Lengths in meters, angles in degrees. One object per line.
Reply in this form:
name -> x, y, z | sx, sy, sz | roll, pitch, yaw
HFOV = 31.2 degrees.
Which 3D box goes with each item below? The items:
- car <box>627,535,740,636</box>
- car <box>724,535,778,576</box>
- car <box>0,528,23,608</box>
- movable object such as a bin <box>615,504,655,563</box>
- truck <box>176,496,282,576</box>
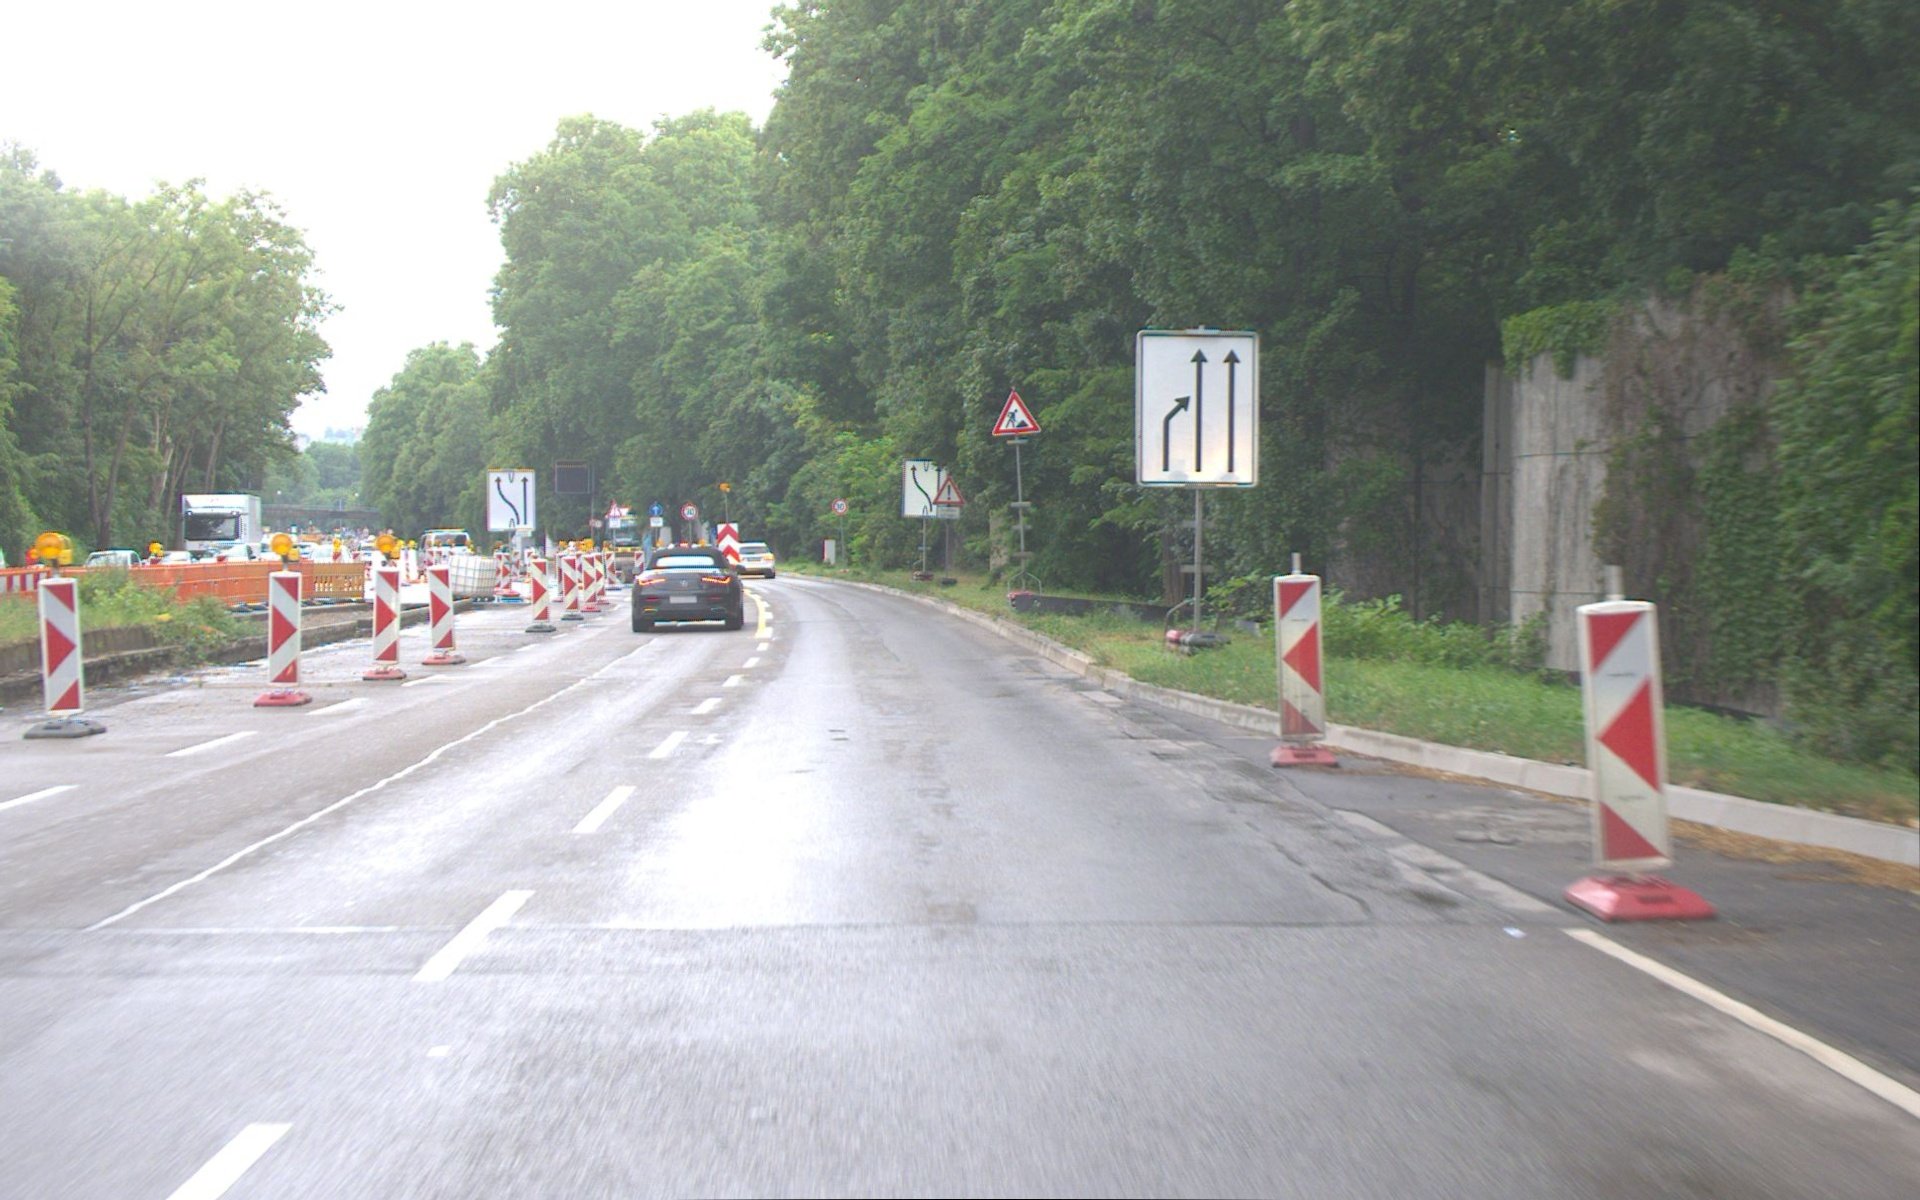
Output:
car -> -4.756, -0.282, 59.482 | 1.862, 1.486, 4.001 | 1, 3, -4
car -> -8.505, -1.831, 139.779 | 1.913, 1.592, 4.835 | 0, 2, -7
car -> -22.511, -0.708, 77.028 | 1.914, 1.775, 4.834 | 0, 2, -3
movable object such as a bin -> -16.252, -3.335, 171.737 | 1.746, 2.857, 3.535 | -1, 1, -8
truck -> -29.739, -2.608, 140.215 | 2.795, 3.137, 10.149 | 0, 1, -4
